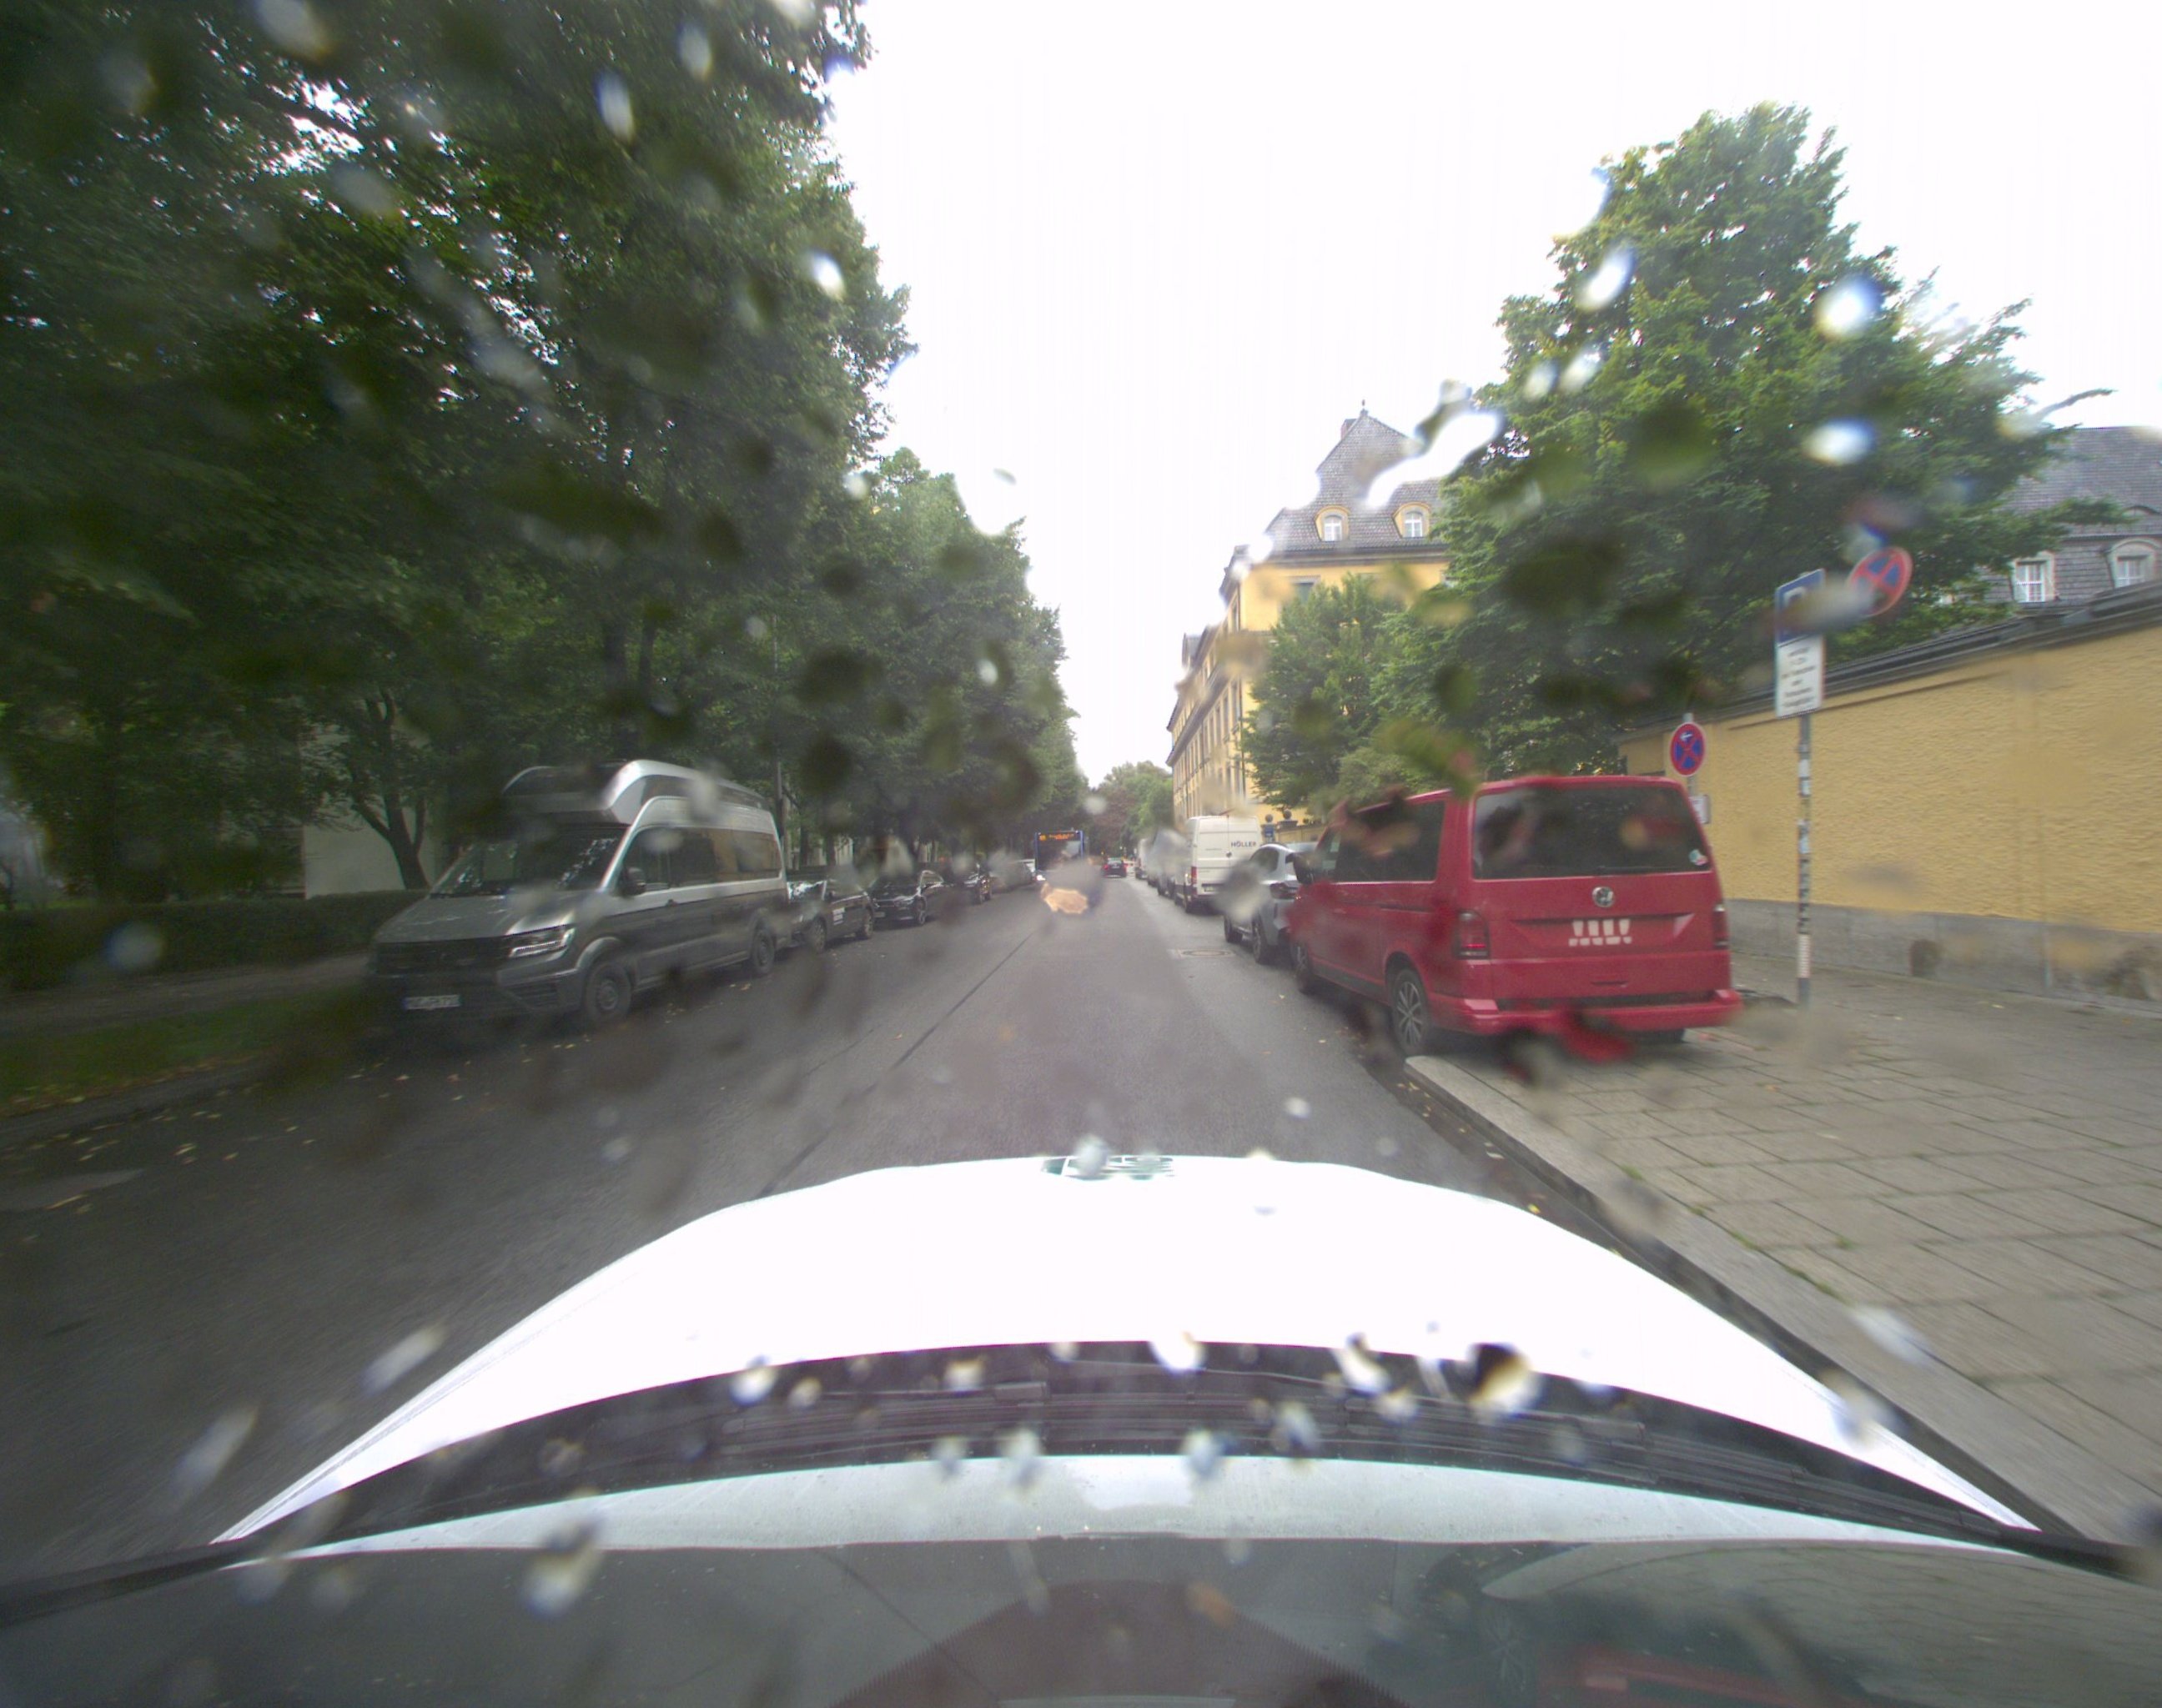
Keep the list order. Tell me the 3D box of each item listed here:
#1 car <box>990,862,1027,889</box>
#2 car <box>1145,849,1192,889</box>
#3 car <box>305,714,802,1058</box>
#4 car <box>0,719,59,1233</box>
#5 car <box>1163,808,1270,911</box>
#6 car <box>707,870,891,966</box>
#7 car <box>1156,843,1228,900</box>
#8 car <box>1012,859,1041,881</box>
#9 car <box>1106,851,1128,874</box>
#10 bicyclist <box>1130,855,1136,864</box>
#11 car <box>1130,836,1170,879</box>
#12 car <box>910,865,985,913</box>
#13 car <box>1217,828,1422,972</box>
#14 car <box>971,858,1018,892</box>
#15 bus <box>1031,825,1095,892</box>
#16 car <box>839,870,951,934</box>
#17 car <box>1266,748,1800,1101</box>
[{"bbox_3d":[-4.217,1.249,47.881,1.666,1.469,4.104,-2,-1,1],"label":"car"},{"bbox_3d":[4.397,0.753,41.584,1.864,1.869,4.986,-2,-1,1],"label":"car"},{"bbox_3d":[-5.581,0.332,10.065,1.938,2.854,6.236,-2,-1,1],"label":"car"},{"bbox_3d":[-6.038,0.594,1.200,2.107,2.348,5.408,-2,0,1],"label":"car"},{"bbox_3d":[3.688,0.202,23.236,2.088,2.488,5.740,-2,-1,1],"label":"car"},{"bbox_3d":[-5.316,1.129,16.086,1.783,1.438,4.582,-3,0,3],"label":"car"},{"bbox_3d":[4.019,0.610,30.320,2.006,1.906,5.164,-1,0,1],"label":"car"},{"bbox_3d":[-3.805,1.101,57.285,1.666,1.469,4.104,-2,-1,1],"label":"car"},{"bbox_3d":[2.721,0.634,61.608,1.571,1.584,4.047,-2,-1,3],"label":"car"},{"bbox_3d":[8.805,0.905,138.136,0.680,1.504,0.899,-2,-1,-6],"label":"bicyclist"},{"bbox_3d":[4.664,0.300,56.008,2.047,2.673,7.614,-2,-1,1],"label":"car"},{"bbox_3d":[-4.442,1.138,27.692,1.784,1.454,3.949,-2,-1,1],"label":"car"},{"bbox_3d":[3.312,0.583,12.327,1.852,1.741,4.604,-1,0,2],"label":"car"},{"bbox_3d":[-4.353,1.045,41.544,1.778,1.597,4.584,-2,-1,1],"label":"car"},{"bbox_3d":[-0.750,0.400,49.875,2.849,3.239,18.429,-2,-1,1],"label":"bus"},{"bbox_3d":[-4.766,1.190,21.518,1.784,1.438,4.551,-2,-1,1],"label":"car"},{"bbox_3d":[3.231,0.459,7.443,1.852,1.967,5.445,-2,-1,1],"label":"car"}]
